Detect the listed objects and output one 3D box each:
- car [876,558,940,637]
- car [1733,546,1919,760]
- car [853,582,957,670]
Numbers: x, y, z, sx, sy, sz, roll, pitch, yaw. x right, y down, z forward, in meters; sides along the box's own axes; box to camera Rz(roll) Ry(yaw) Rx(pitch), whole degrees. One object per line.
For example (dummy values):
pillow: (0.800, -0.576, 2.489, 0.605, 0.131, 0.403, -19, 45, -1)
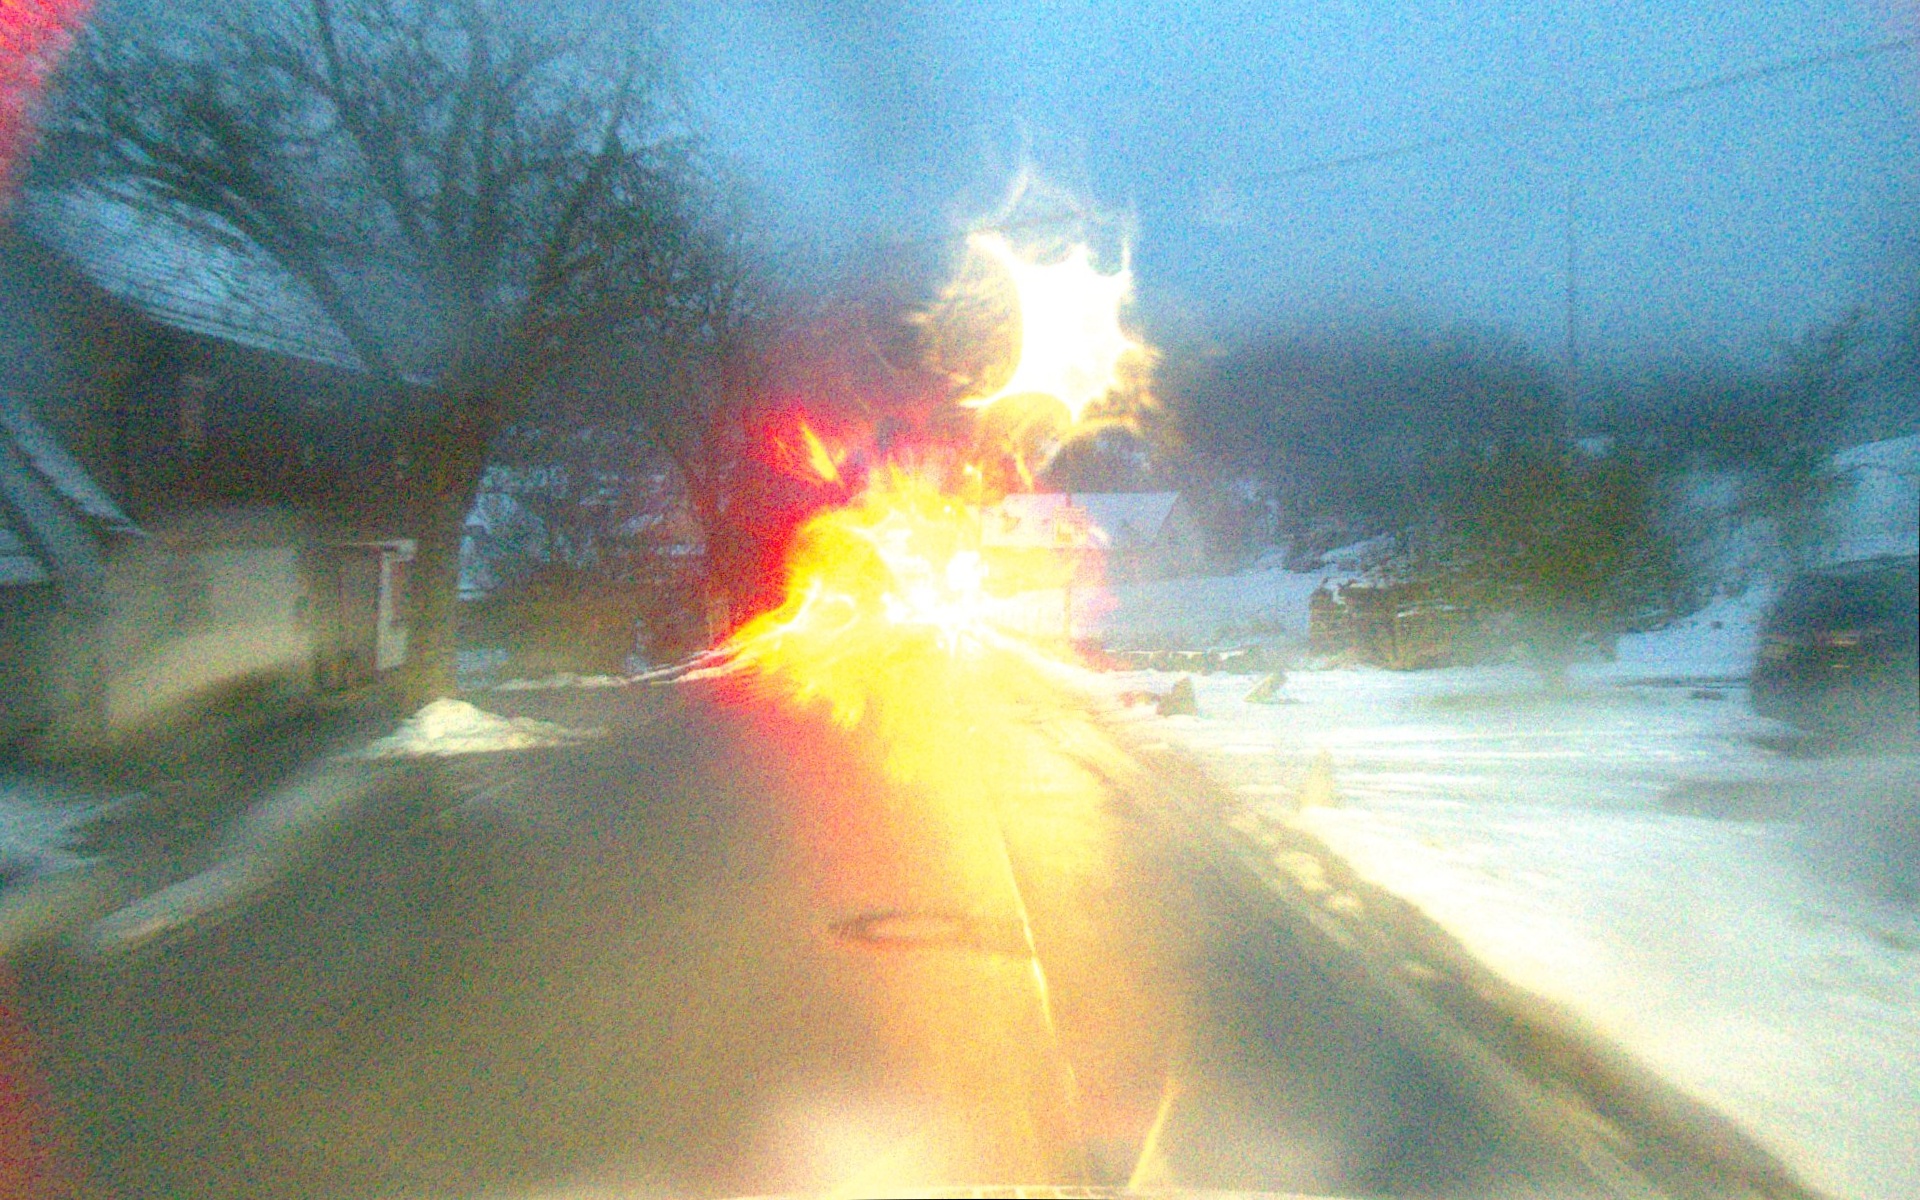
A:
car: (-2.122, -0.045, 68.775, 2.385, 3.072, 5.324, -1, -1, 1)
car: (9.180, 0.350, 14.087, 4.302, 1.686, 1.864, -2, 1, 6)
car: (-1.242, 0.561, 38.230, 2.228, 1.873, 5.005, -1, 0, -1)
